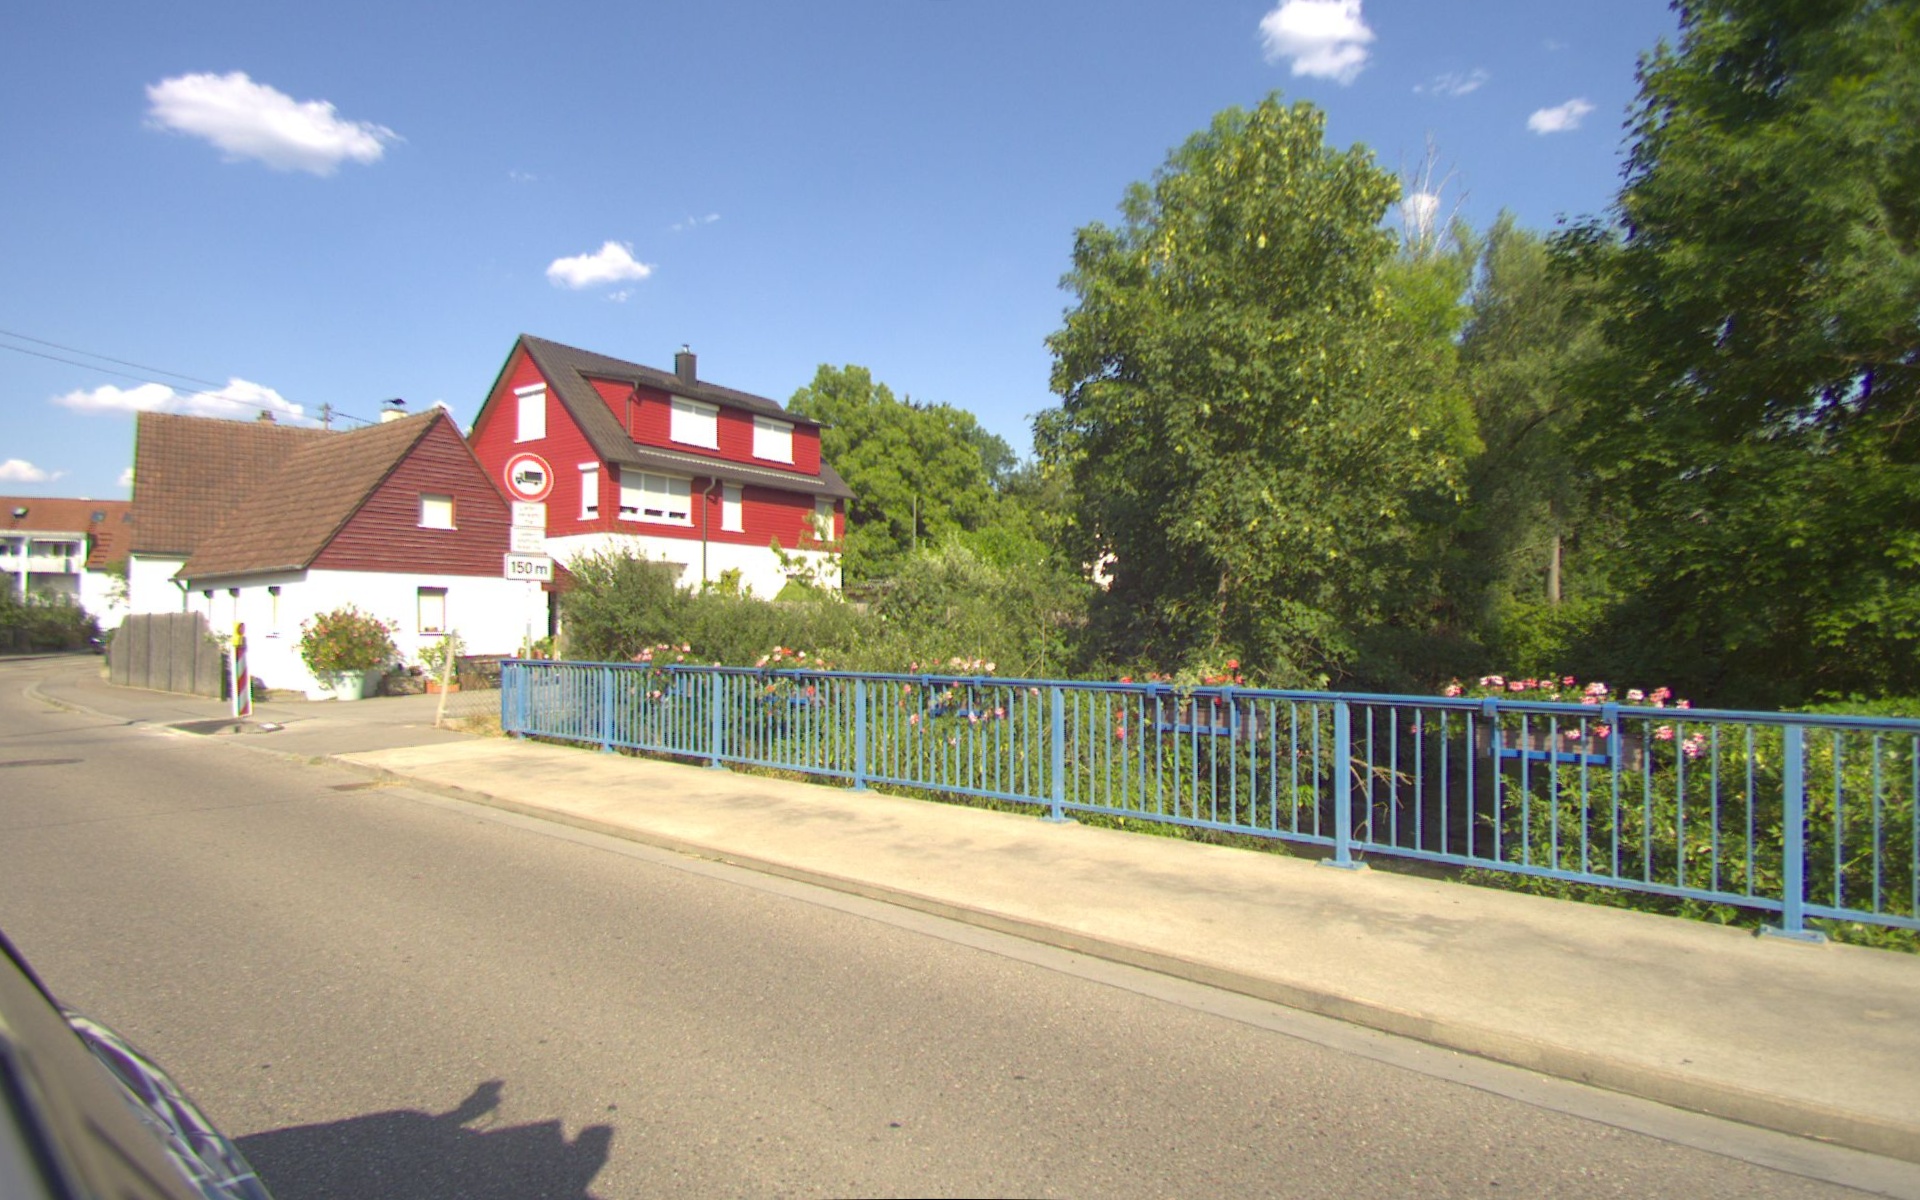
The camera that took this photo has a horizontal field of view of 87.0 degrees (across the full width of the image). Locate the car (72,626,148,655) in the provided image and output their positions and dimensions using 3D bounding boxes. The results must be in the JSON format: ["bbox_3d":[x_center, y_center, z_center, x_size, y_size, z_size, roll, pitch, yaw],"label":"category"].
[{"bbox_3d":[-51.654,2.474,61.571,1.941,1.669,4.011,2,-3,-14],"label":"car"}]
